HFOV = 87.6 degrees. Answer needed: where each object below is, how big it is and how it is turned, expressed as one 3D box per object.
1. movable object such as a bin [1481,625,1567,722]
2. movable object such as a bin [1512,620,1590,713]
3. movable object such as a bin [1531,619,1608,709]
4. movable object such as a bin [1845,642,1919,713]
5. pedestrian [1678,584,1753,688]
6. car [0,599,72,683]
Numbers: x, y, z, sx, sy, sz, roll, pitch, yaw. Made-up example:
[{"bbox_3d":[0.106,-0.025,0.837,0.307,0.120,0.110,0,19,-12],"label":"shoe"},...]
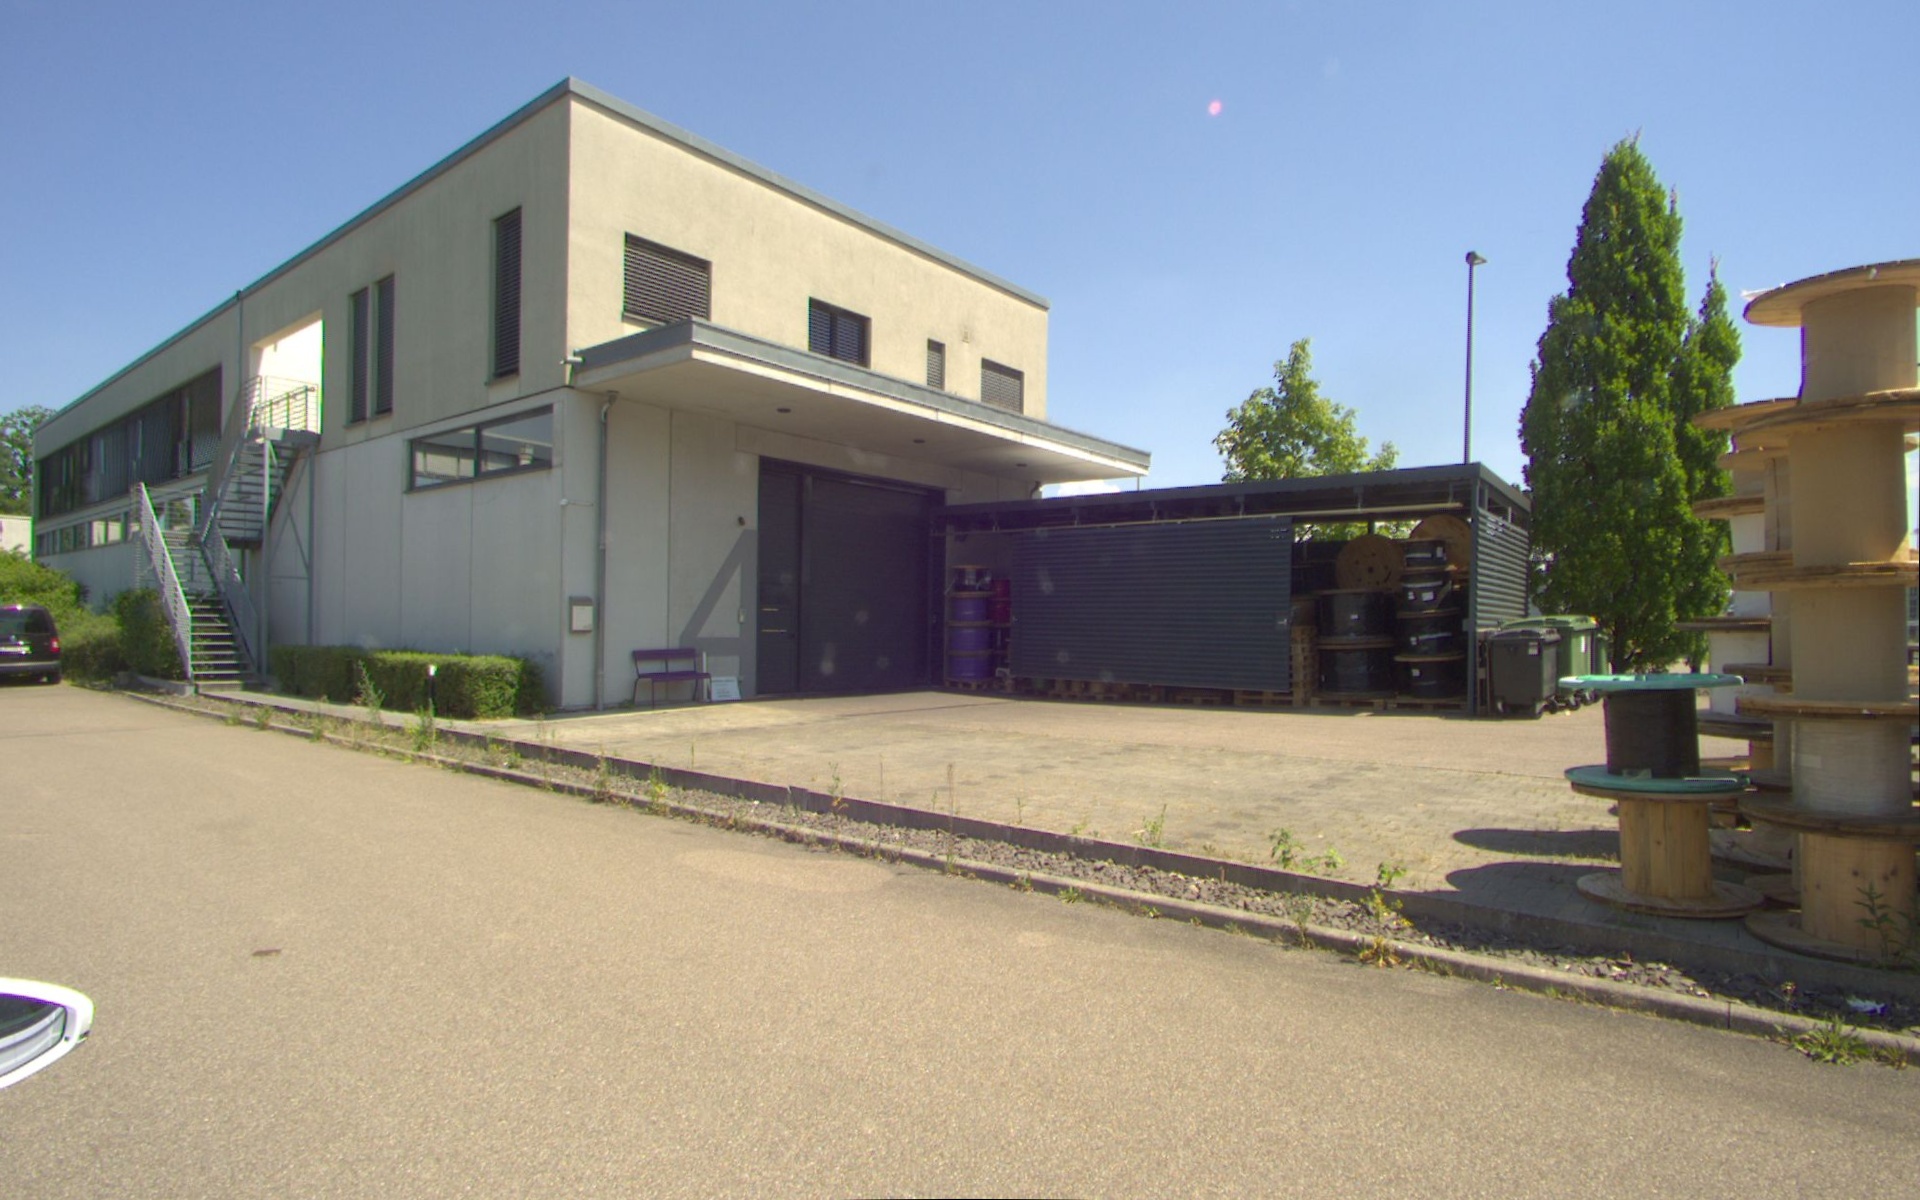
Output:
[{"bbox_3d":[7.773,0.989,13.791,0.867,1.266,0.794,0,-1,-43],"label":"movable object such as a bin"},{"bbox_3d":[8.668,0.955,14.694,0.748,1.315,0.794,0,-1,-42],"label":"movable object such as a bin"},{"bbox_3d":[9.297,0.950,15.270,0.802,1.315,0.794,0,-1,-43],"label":"movable object such as a bin"},{"bbox_3d":[12.496,1.037,13.561,0.537,0.929,0.585,-1,-1,15],"label":"movable object such as a bin"},{"bbox_3d":[13.443,0.621,17.822,0.796,1.792,0.766,-1,1,-22],"label":"pedestrian"},{"bbox_3d":[-22.586,0.910,23.707,3.951,1.861,1.736,0,0,39],"label":"car"}]
